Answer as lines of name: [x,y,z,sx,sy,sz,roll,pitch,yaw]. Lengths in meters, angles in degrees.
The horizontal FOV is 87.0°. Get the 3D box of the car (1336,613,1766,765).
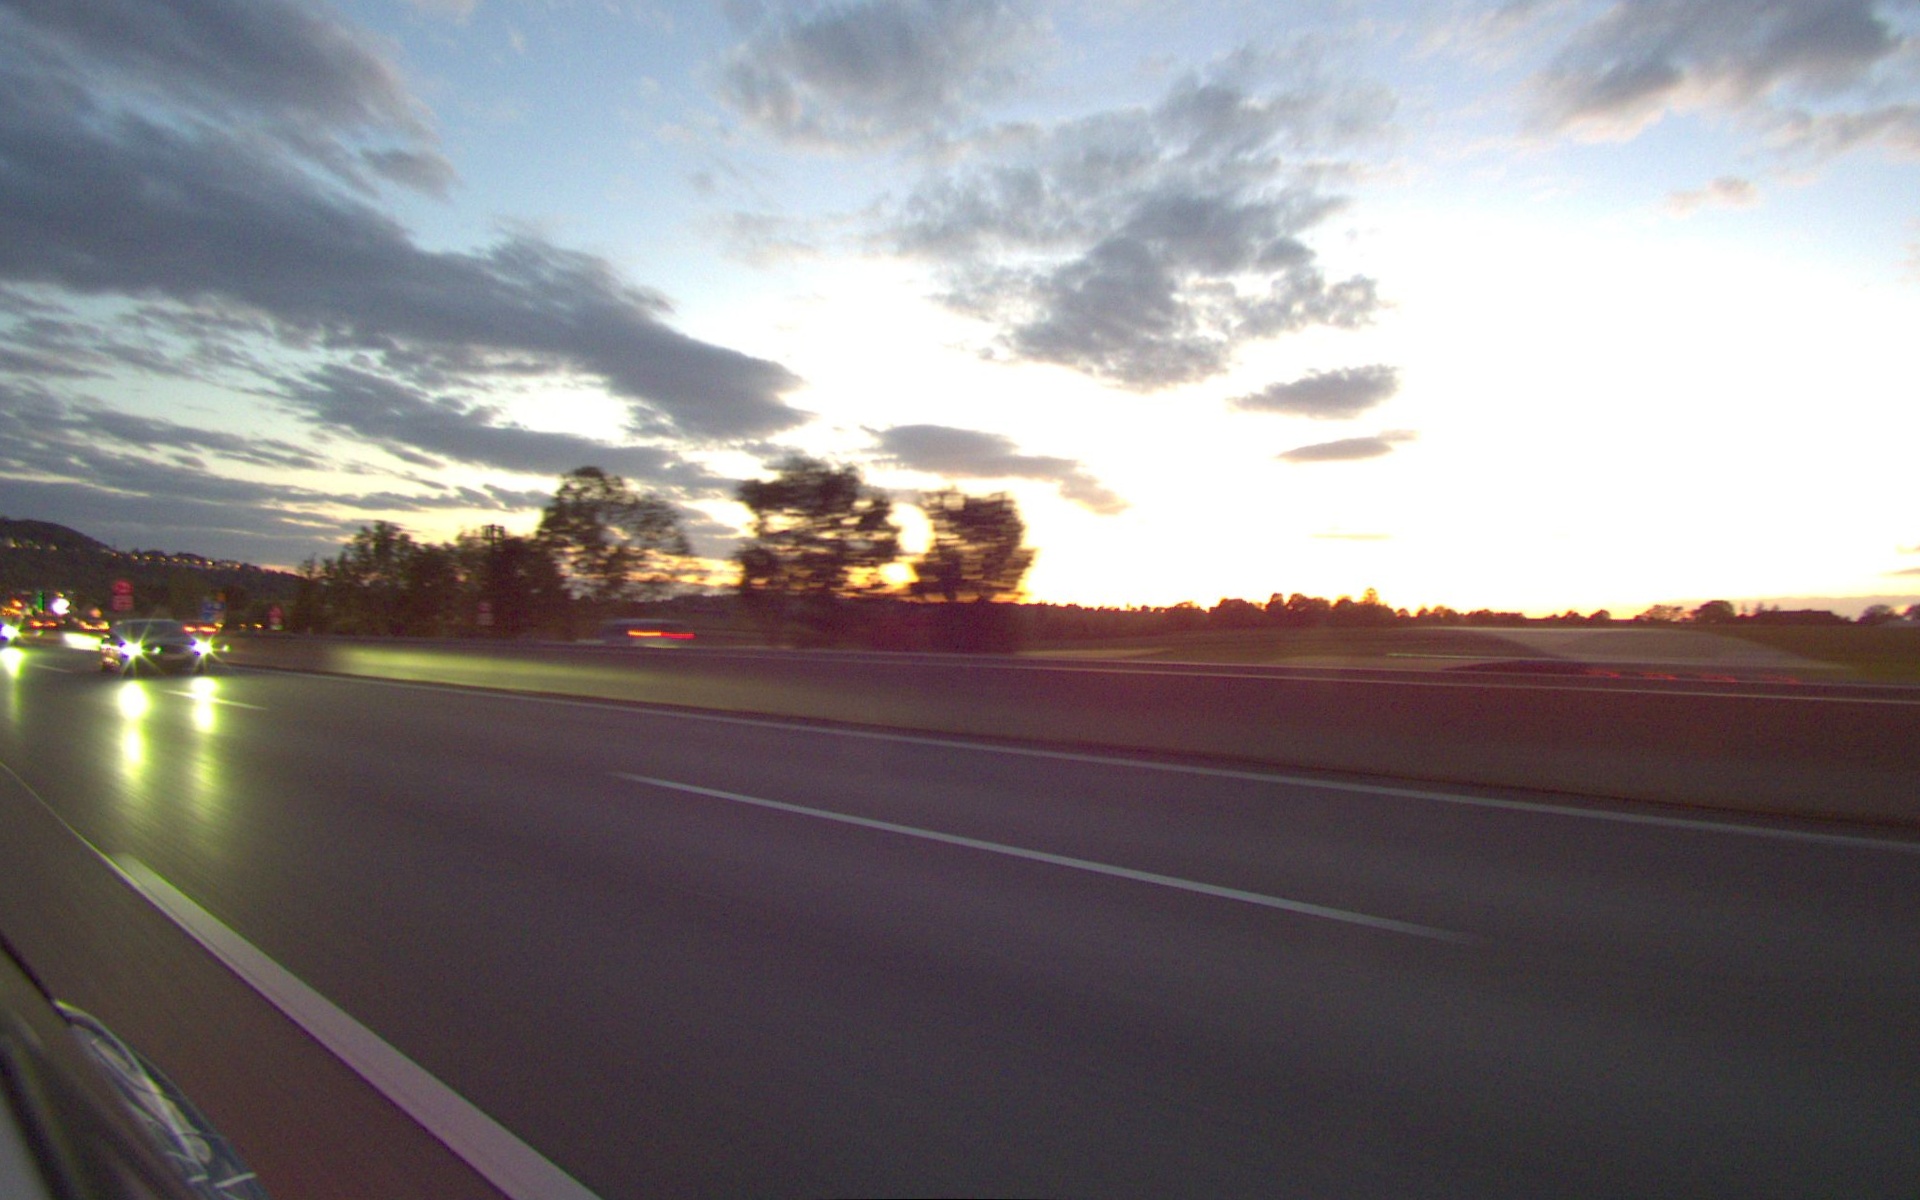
car: [7.530,1.000,13.222,4.624,1.629,1.681,-1,0,41]

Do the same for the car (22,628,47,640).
car: [-109.808,4.006,120.088,4.109,1.372,1.726,-1,0,41]

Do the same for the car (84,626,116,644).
car: [-79.491,3.250,93.515,3.998,1.558,1.714,-1,0,41]

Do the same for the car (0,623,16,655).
car: [-53.192,2.128,55.342,4.854,1.660,1.796,-1,0,41]

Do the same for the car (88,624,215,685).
car: [-22.468,1.433,28.035,5.391,1.448,1.796,-1,0,41]

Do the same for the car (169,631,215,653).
car: [-56.520,3.040,74.478,4.272,1.465,1.841,-1,0,41]

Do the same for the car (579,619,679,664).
car: [-13.419,1.640,40.862,4.792,1.656,1.643,-1,0,41]
